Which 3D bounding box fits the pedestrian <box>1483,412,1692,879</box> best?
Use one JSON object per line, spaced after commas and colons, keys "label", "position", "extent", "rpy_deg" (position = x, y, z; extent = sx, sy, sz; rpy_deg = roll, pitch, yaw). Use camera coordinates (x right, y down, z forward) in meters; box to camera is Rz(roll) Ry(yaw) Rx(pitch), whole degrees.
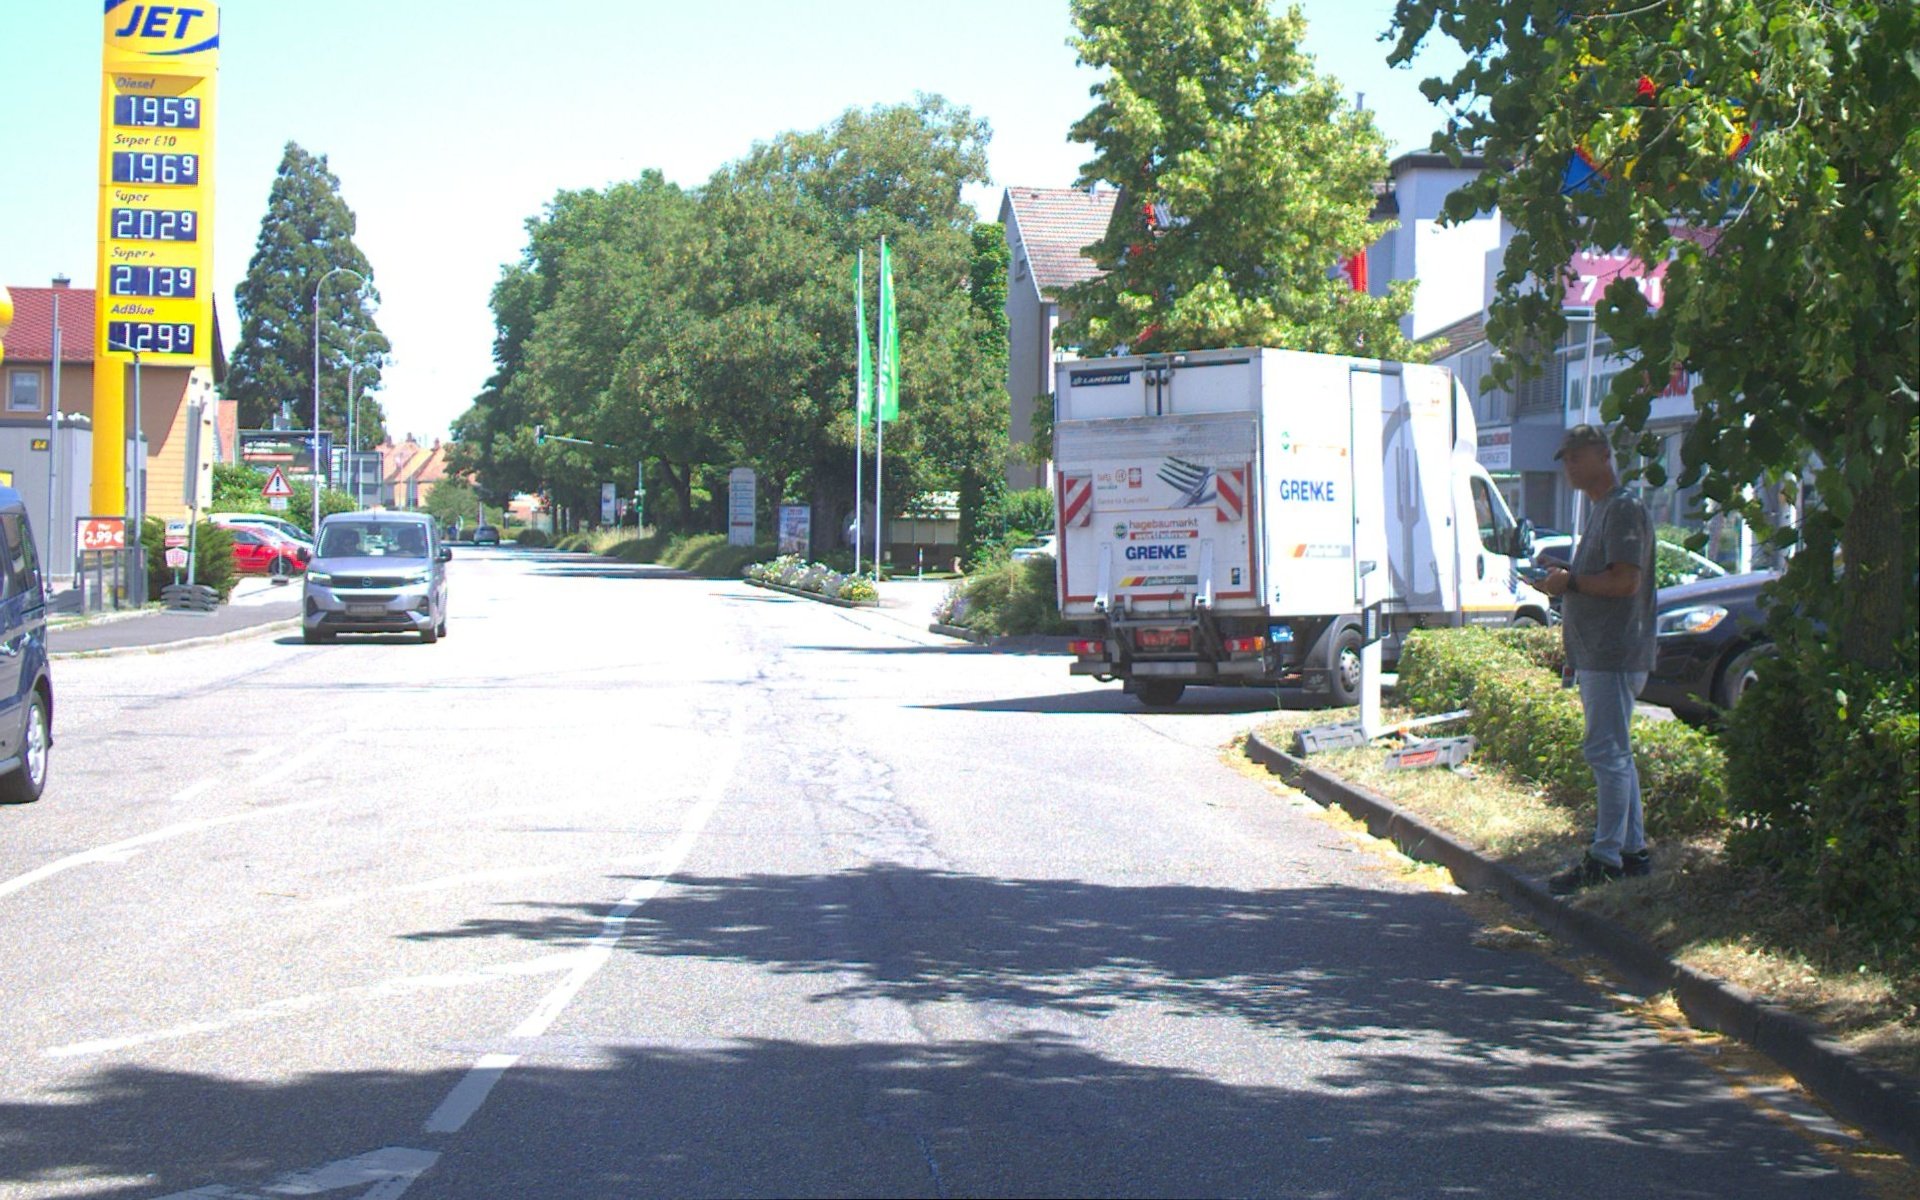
{"label": "pedestrian", "position": [2.459, 0.170, 13.534], "extent": [0.729, 1.783, 0.620], "rpy_deg": [1, 1, 6]}

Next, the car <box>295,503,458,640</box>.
{"label": "car", "position": [-7.981, -0.432, 47.310], "extent": [1.795, 1.766, 4.365], "rpy_deg": [0, 2, -4]}

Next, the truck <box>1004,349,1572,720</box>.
{"label": "truck", "position": [3.041, -0.610, 30.374], "extent": [2.419, 2.938, 5.942], "rpy_deg": [2, 2, 34]}

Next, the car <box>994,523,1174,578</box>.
{"label": "car", "position": [3.259, -1.297, 90.497], "extent": [4.343, 1.366, 1.956], "rpy_deg": [0, 1, -30]}

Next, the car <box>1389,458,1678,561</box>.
{"label": "car", "position": [9.448, -1.483, 56.556], "extent": [4.584, 1.636, 1.999], "rpy_deg": [1, 1, 11]}

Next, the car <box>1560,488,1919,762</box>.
{"label": "car", "position": [6.316, 0.160, 22.258], "extent": [4.514, 1.662, 1.894], "rpy_deg": [1, 1, 1]}

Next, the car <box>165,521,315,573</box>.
{"label": "car", "position": [-20.764, -1.528, 99.298], "extent": [4.124, 1.439, 1.827], "rpy_deg": [1, 1, -8]}

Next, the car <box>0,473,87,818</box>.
{"label": "car", "position": [-5.843, 0.248, 17.408], "extent": [1.823, 1.775, 4.783], "rpy_deg": [-1, 1, -3]}

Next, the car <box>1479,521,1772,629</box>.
{"label": "car", "position": [9.412, -0.363, 48.873], "extent": [3.988, 1.455, 1.805], "rpy_deg": [1, 1, 8]}
